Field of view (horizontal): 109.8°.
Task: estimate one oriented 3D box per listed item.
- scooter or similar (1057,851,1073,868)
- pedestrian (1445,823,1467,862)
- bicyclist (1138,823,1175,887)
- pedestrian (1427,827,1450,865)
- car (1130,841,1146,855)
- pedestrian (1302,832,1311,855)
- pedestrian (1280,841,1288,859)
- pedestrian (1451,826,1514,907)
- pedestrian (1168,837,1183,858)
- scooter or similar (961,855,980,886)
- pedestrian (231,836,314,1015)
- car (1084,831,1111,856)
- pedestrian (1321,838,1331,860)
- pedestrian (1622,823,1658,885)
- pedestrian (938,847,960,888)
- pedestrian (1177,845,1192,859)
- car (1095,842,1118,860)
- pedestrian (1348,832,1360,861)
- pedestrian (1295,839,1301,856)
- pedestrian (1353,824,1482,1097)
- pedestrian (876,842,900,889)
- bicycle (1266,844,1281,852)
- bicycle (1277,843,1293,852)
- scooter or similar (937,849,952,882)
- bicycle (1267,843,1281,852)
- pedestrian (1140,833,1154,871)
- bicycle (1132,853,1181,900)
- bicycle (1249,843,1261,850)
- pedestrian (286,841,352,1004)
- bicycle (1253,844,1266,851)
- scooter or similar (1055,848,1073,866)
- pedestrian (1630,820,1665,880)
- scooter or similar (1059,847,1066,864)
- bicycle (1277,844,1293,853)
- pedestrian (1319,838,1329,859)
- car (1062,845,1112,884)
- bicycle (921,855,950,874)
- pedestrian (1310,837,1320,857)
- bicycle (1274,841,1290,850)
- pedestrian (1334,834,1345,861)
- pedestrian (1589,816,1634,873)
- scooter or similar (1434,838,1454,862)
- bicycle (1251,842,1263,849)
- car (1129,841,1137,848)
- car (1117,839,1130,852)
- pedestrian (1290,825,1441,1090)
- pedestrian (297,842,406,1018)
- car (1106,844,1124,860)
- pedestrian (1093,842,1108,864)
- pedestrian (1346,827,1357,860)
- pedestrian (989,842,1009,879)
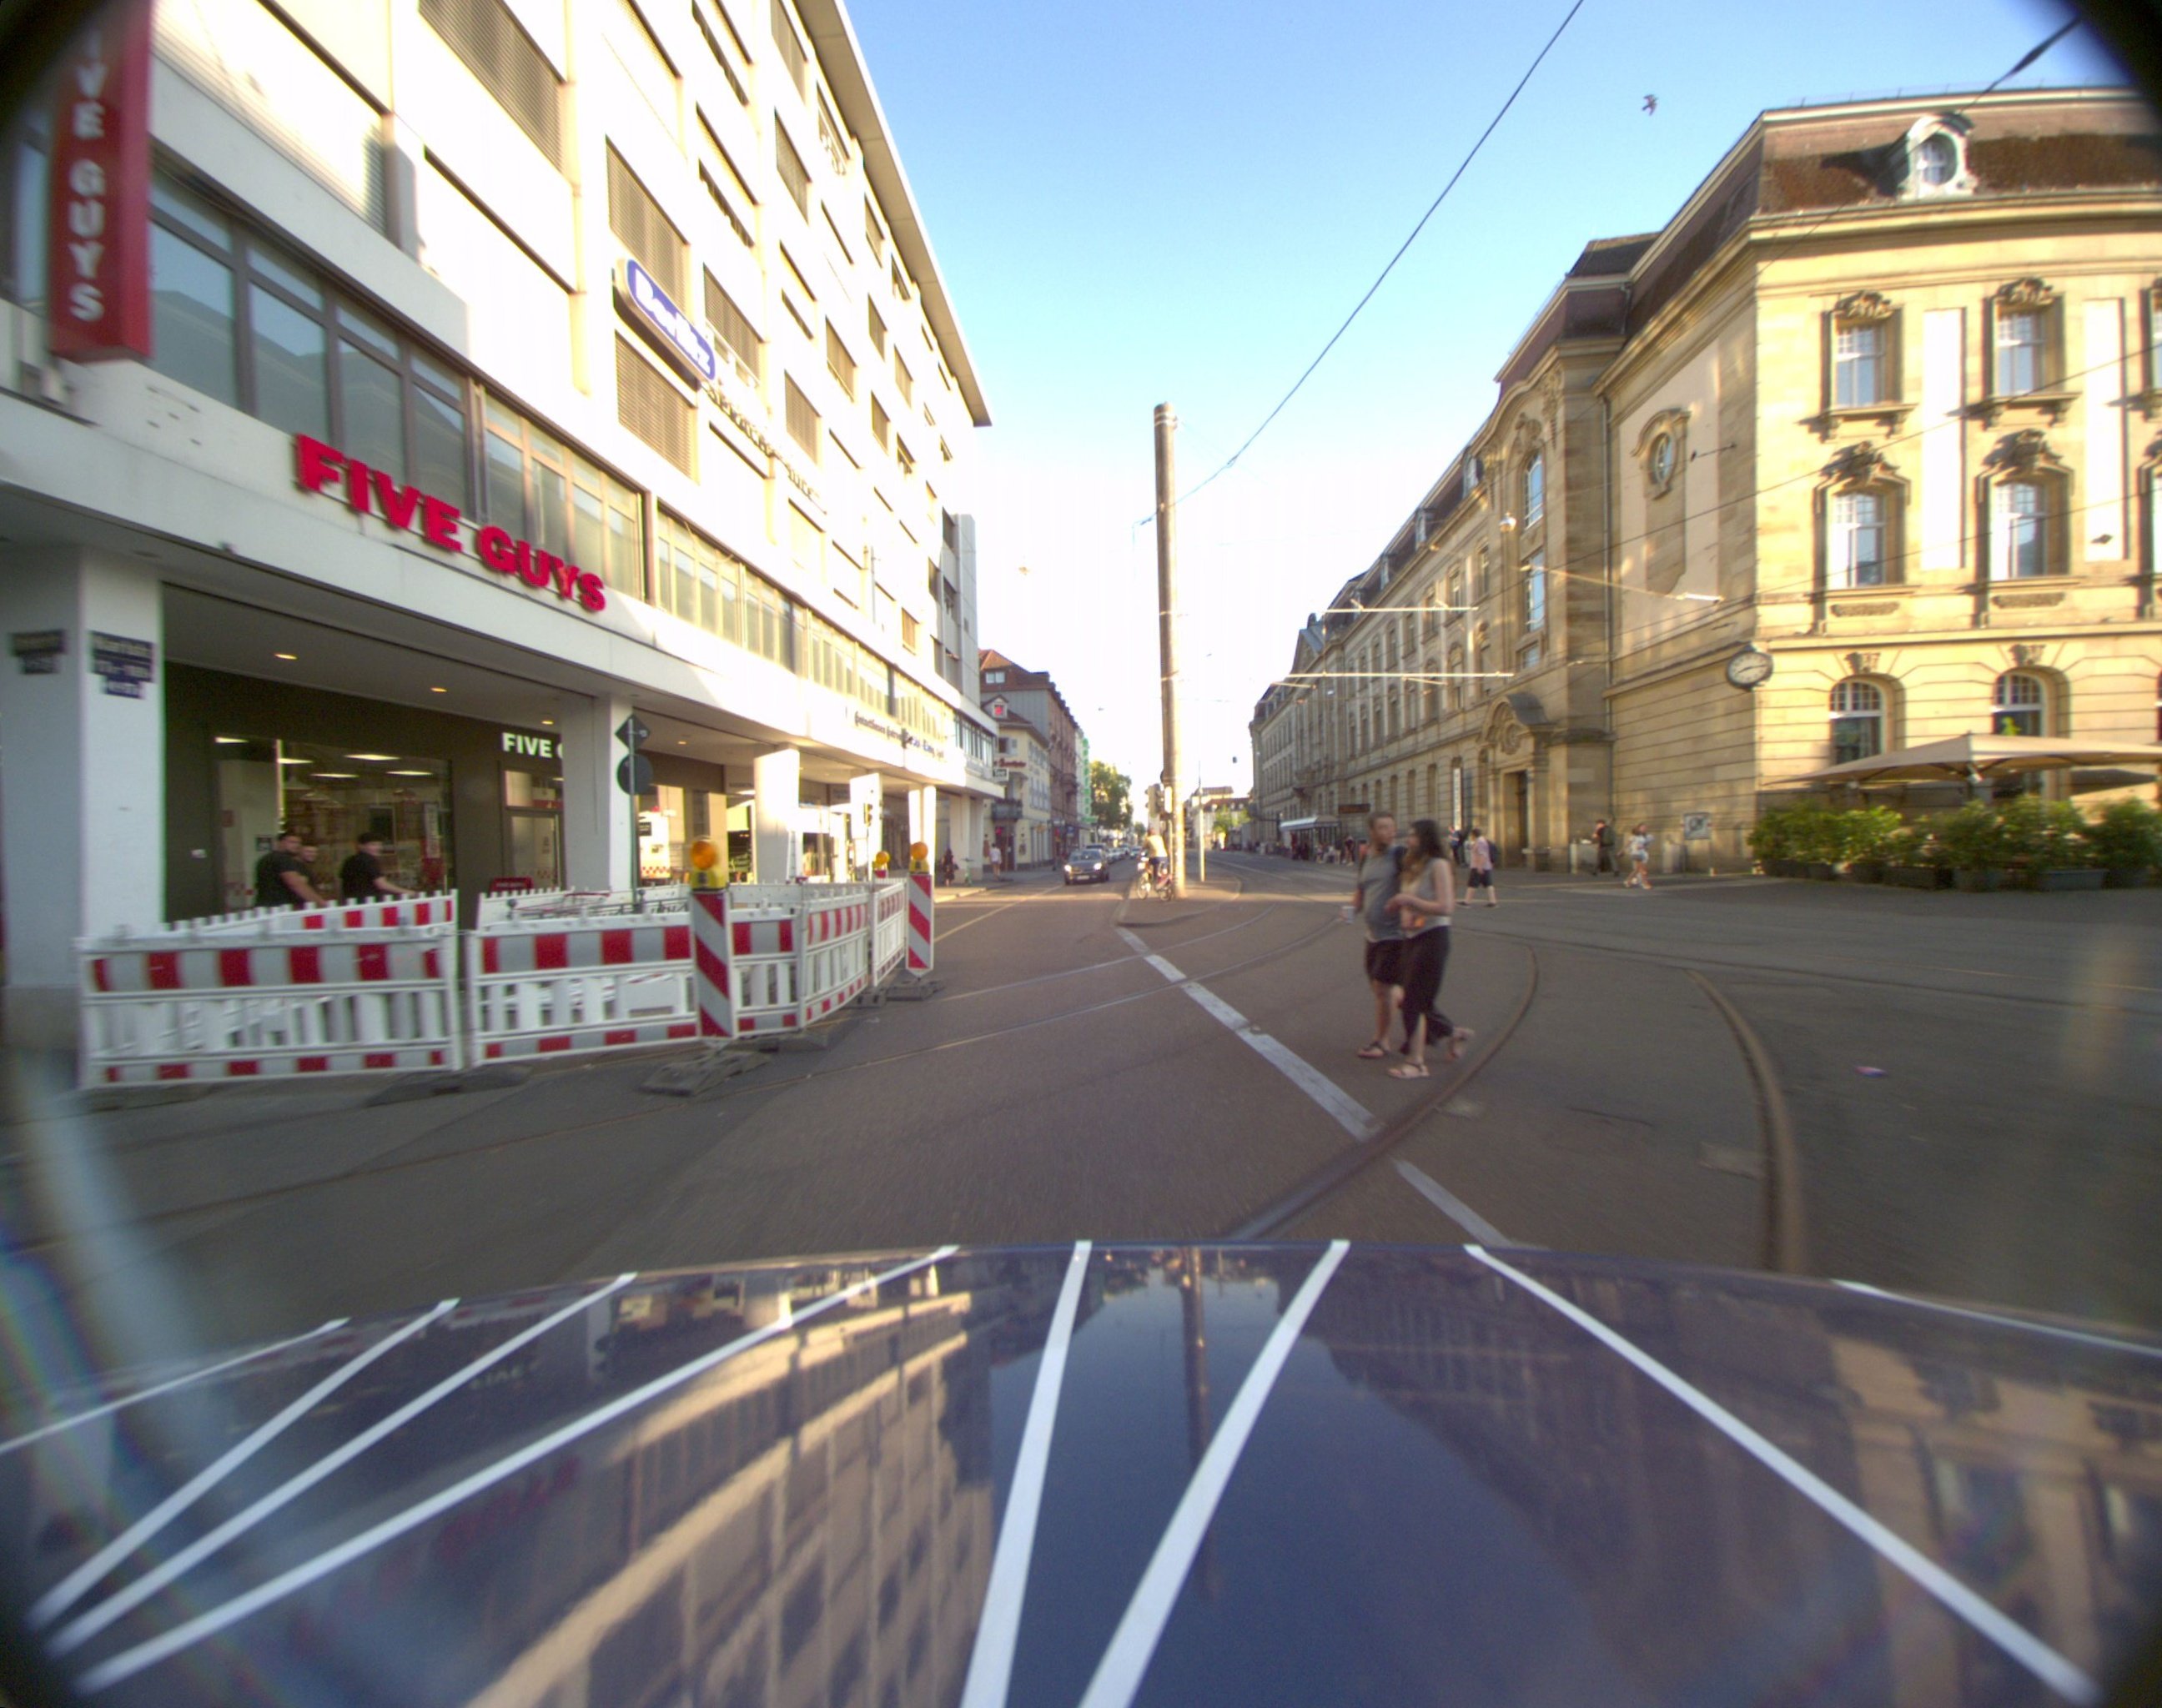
[{"bbox_3d":[-1.119,0.379,53.153,1.049,1.227,0.271,-1,2,-26],"label":"scooter or similar"},{"bbox_3d":[17.341,-0.528,35.146,0.622,1.766,0.706,-2,1,2],"label":"pedestrian"},{"bbox_3d":[1.918,0.024,19.312,0.611,1.584,0.790,-2,2,-21],"label":"bicyclist"},{"bbox_3d":[15.752,-0.348,33.514,0.701,1.605,0.631,-2,1,4],"label":"pedestrian"},{"bbox_3d":[6.930,-0.740,91.872,1.810,1.475,4.284,-3,0,5],"label":"car"},{"bbox_3d":[15.814,-0.737,53.258,0.518,1.641,0.639,-1,2,28],"label":"pedestrian"},{"bbox_3d":[18.711,-0.343,70.058,0.573,1.596,0.439,-4,2,-36],"label":"pedestrian"},{"bbox_3d":[8.380,0.257,15.891,0.804,1.619,0.834,-2,1,-7],"label":"pedestrian"},{"bbox_3d":[7.296,-0.503,58.798,0.863,1.628,0.686,-3,2,-44],"label":"pedestrian"},{"bbox_3d":[-4.634,0.683,31.915,0.506,1.227,1.180,-1,1,5],"label":"scooter or similar"},{"bbox_3d":[-9.511,0.807,8.967,0.518,2.002,0.779,-4,2,-43],"label":"pedestrian"},{"bbox_3d":[1.460,-0.940,65.216,1.881,1.912,4.700,-3,1,5],"label":"car"},{"bbox_3d":[15.128,-0.312,46.945,0.518,1.320,0.638,-1,2,9],"label":"pedestrian"},{"bbox_3d":[14.007,0.001,19.050,0.527,1.516,0.502,-2,1,-15],"label":"pedestrian"},{"bbox_3d":[-5.525,0.563,31.822,0.702,1.683,0.540,-4,2,-32],"label":"pedestrian"},{"bbox_3d":[7.322,-0.129,53.736,0.798,0.934,0.694,-1,1,28],"label":"pedestrian"},{"bbox_3d":[2.422,-0.294,71.110,1.810,1.475,4.779,-3,0,5],"label":"car"},{"bbox_3d":[15.884,-0.452,44.238,0.518,1.636,0.638,-1,2,9],"label":"pedestrian"},{"bbox_3d":[16.186,-0.480,56.614,0.365,1.193,0.430,-2,2,11],"label":"pedestrian"},{"bbox_3d":[2.082,0.618,4.719,0.572,1.584,0.447,-2,2,-20],"label":"pedestrian"},{"bbox_3d":[-7.668,0.447,30.177,0.701,1.805,0.630,-3,1,0],"label":"pedestrian"},{"bbox_3d":[22.207,-0.678,87.794,1.578,0.869,0.451,-2,2,10],"label":"bicycle"},{"bbox_3d":[21.949,-0.679,81.778,1.578,0.869,0.451,-2,2,10],"label":"bicycle"},{"bbox_3d":[-6.343,0.527,35.441,0.314,1.480,1.315,-1,1,5],"label":"scooter or similar"},{"bbox_3d":[22.029,-0.739,86.707,1.578,0.869,0.451,-2,2,10],"label":"bicycle"},{"bbox_3d":[3.116,-0.087,35.943,0.540,1.757,0.595,-2,2,11],"label":"pedestrian"},{"bbox_3d":[1.907,0.547,19.446,0.630,1.097,1.622,-1,2,-19],"label":"bicycle"},{"bbox_3d":[23.913,-0.993,104.445,1.578,0.869,0.451,-2,2,10],"label":"bicycle"},{"bbox_3d":[-9.798,0.857,9.786,0.472,2.002,0.705,-4,2,-43],"label":"pedestrian"},{"bbox_3d":[23.577,-0.905,100.532,1.578,0.869,0.451,-2,2,10],"label":"bicycle"},{"bbox_3d":[-1.161,0.229,52.449,1.177,1.227,0.317,1,2,22],"label":"scooter or similar"},{"bbox_3d":[14.711,-0.100,19.725,0.520,1.516,0.501,-2,1,-10],"label":"pedestrian"},{"bbox_3d":[-1.372,0.103,57.043,0.272,1.227,1.308,0,2,9],"label":"scooter or similar"},{"bbox_3d":[21.427,-0.630,79.948,1.578,0.869,0.451,-2,2,10],"label":"bicycle"},{"bbox_3d":[15.285,-0.335,47.805,0.518,1.320,0.638,-1,2,9],"label":"pedestrian"},{"bbox_3d":[0.331,0.414,32.907,1.738,1.495,4.001,-2,1,6],"label":"car"},{"bbox_3d":[-9.950,0.694,51.869,0.770,1.175,1.850,-1,2,36],"label":"bicycle"},{"bbox_3d":[15.742,-0.483,51.153,0.518,1.320,0.638,-1,2,9],"label":"pedestrian"},{"bbox_3d":[22.053,-0.936,83.392,1.578,0.869,0.451,-2,2,10],"label":"bicycle"},{"bbox_3d":[15.221,-0.414,44.703,0.518,1.560,0.638,-1,2,9],"label":"pedestrian"},{"bbox_3d":[15.710,-0.286,22.527,0.690,1.619,0.972,-2,1,4],"label":"pedestrian"},{"bbox_3d":[18.389,-0.222,38.532,0.488,1.175,1.293,-2,1,7],"label":"scooter or similar"},{"bbox_3d":[23.480,-1.072,101.319,1.578,0.869,0.451,-2,2,10],"label":"bicycle"},{"bbox_3d":[11.421,-2.151,167.133,1.770,1.565,4.001,1,2,6],"label":"car"},{"bbox_3d":[6.905,-1.419,122.330,1.856,2.055,5.216,-1,1,6],"label":"car"},{"bbox_3d":[1.961,0.659,5.271,0.747,1.690,0.609,-2,2,-21],"label":"pedestrian"},{"bbox_3d":[-8.610,0.879,8.985,0.707,2.002,0.471,-2,2,1],"label":"pedestrian"},{"bbox_3d":[3.854,-0.256,84.936,1.736,1.502,4.866,-3,1,5],"label":"car"},{"bbox_3d":[1.497,-0.091,58.593,0.970,1.619,0.692,-1,1,17],"label":"pedestrian"},{"bbox_3d":[14.573,-0.565,40.982,0.467,1.766,0.562,-1,1,25],"label":"pedestrian"},{"bbox_3d":[-4.159,0.327,38.756,0.700,1.805,0.852,-2,1,12],"label":"pedestrian"}]
